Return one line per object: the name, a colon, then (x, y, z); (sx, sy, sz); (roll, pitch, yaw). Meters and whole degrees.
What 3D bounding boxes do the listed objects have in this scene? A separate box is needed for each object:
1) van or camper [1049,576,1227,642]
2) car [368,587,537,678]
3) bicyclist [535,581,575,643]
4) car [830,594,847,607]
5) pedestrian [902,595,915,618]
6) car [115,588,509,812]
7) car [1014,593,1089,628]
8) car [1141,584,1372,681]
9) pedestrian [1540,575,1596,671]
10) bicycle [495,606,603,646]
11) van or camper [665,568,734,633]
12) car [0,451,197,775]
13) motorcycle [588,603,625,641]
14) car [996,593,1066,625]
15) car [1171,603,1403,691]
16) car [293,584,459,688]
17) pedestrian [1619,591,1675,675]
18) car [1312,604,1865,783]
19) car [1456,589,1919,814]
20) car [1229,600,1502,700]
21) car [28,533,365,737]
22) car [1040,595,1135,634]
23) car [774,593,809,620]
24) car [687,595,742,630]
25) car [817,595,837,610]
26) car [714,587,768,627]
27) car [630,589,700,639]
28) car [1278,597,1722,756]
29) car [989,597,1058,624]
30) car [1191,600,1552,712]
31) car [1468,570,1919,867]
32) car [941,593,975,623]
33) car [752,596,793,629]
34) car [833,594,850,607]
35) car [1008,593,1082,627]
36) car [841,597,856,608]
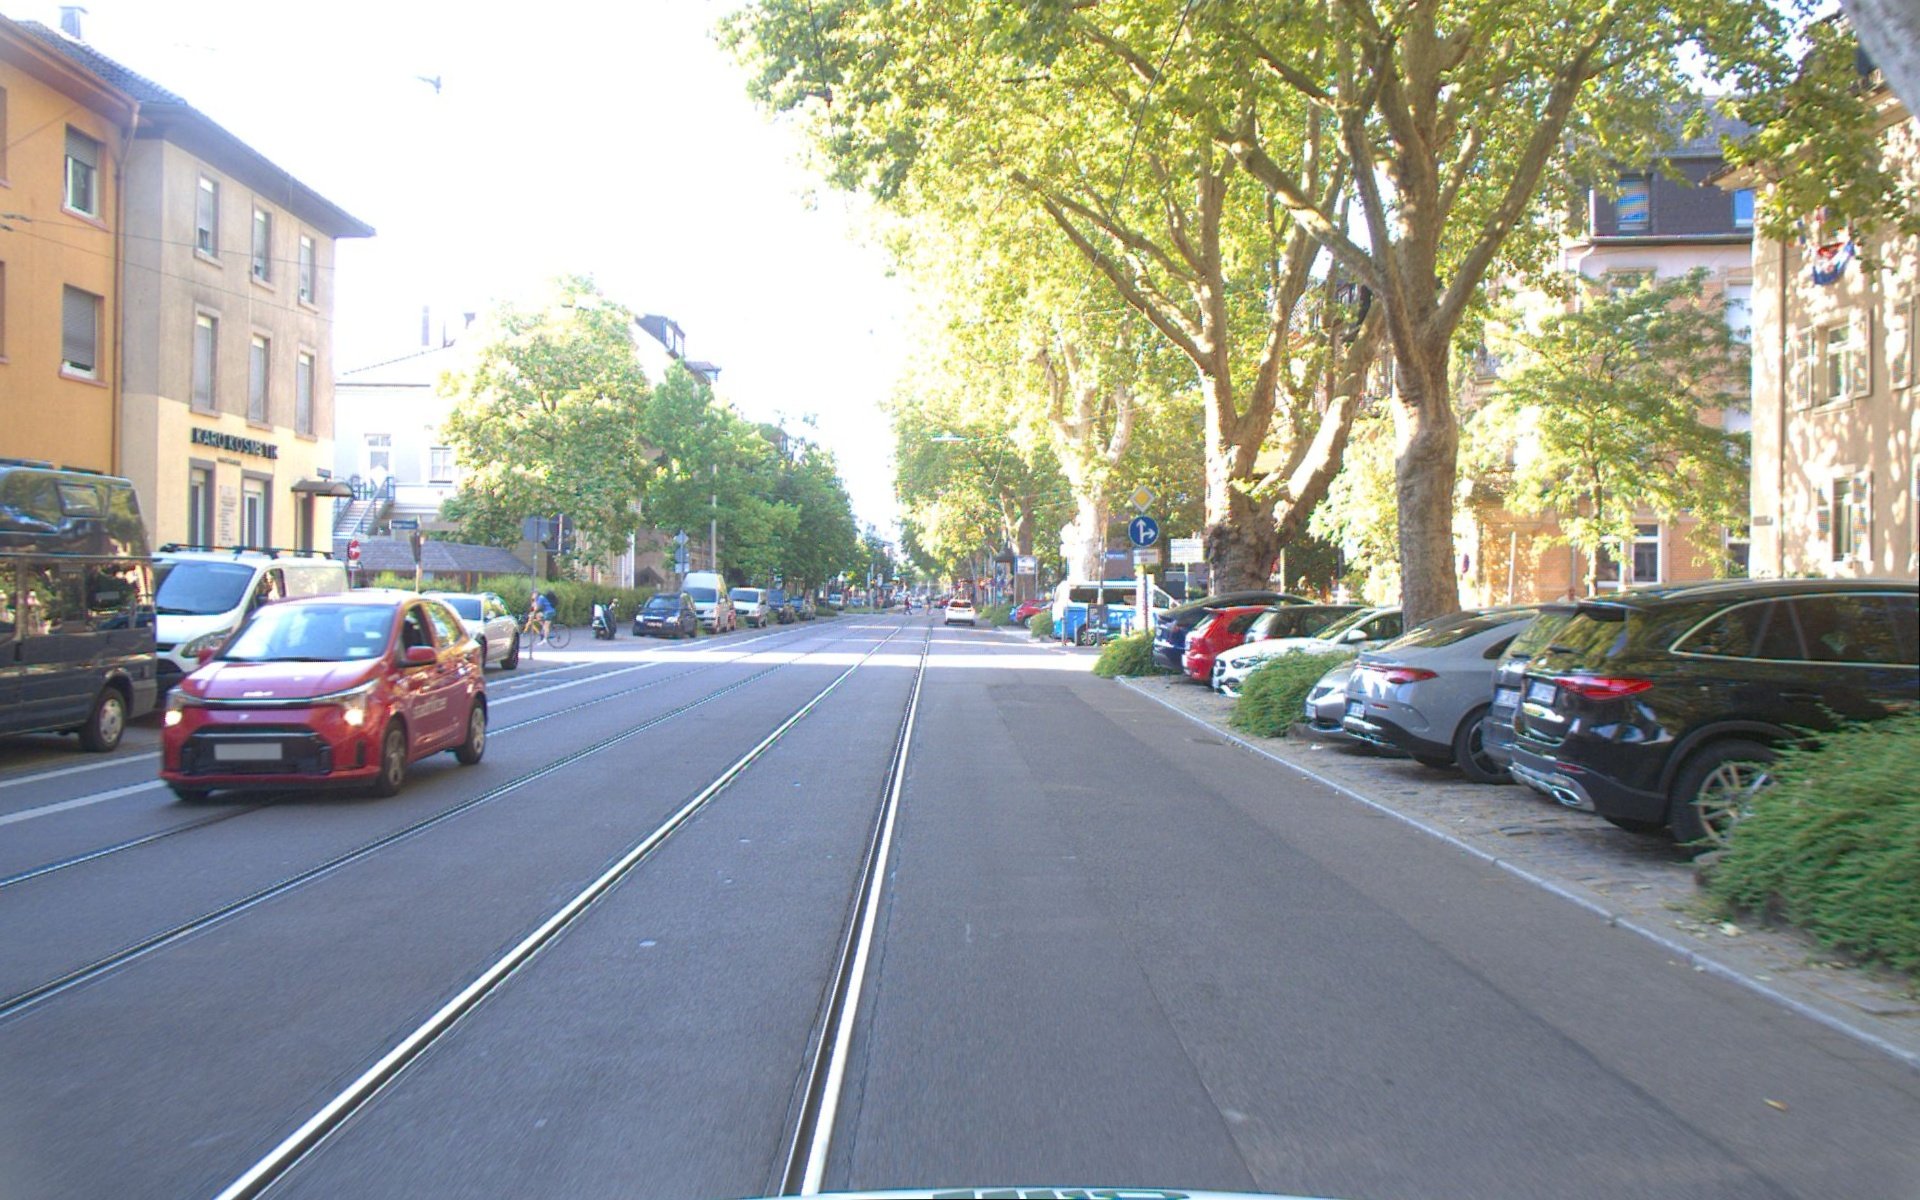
van or camper: (5.788, 0.277, 54.207); (5.447, 2.048, 2.242); (0, 3, -6)
car: (-9.580, 0.559, 31.638); (1.800, 1.494, 5.067); (3, 0, -3)
bicyclist: (-11.486, 0.328, 46.901); (1.027, 1.735, 1.055); (0, 0, -10)
car: (-14.205, 0.058, 193.579); (1.880, 1.443, 3.588); (0, 0, -3)
pedestrian: (-4.676, 0.559, 150.568); (1.026, 2.049, 1.082); (0, 0, 2)
car: (-4.900, 0.663, 13.123); (1.629, 1.505, 3.950); (0, 0, -1)
car: (4.912, 0.558, 88.854); (3.906, 1.816, 2.000); (0, 0, -1)
car: (5.371, 0.577, 30.309); (3.845, 1.699, 1.960); (1, 0, -3)
pedestrian: (11.419, 0.423, 31.094); (0.745, 1.769, 0.821); (0, 0, -1)
bicycle: (-11.619, 0.733, 46.894); (2.894, 1.124, 1.049); (0, 0, -11)
van or camper: (-10.665, 0.013, 68.014); (2.037, 2.577, 5.316); (0, 0, -1)
car: (-9.245, 0.055, 15.045); (2.044, 2.779, 5.308); (3, 0, -1)
motorcycle: (-11.678, 0.728, 54.648); (0.748, 1.126, 2.329); (1, 2, -1)
car: (4.032, 0.508, 94.385); (3.906, 1.816, 2.000); (0, 0, -1)
car: (5.487, 0.775, 28.087); (3.575, 1.402, 1.889); (1, 0, 0)
car: (-9.514, 0.556, 27.163); (1.539, 1.553, 3.040); (2, 0, 1)
pedestrian: (12.348, 0.591, 29.749); (0.648, 1.480, 0.821); (0, 0, -1)
car: (5.481, 0.788, 14.813); (4.209, 1.464, 1.947); (1, 0, -2)
car: (5.836, 0.720, 12.599); (3.602, 1.574, 1.777); (0, 0, 1)
car: (6.233, 0.747, 25.686); (3.803, 1.460, 1.753); (1, 0, -1)
car: (-9.344, 0.347, 20.831); (1.914, 2.127, 5.246); (4, 1, -3)
car: (5.424, 0.607, 70.785); (3.906, 1.637, 2.000); (0, 0, -1)
car: (-11.489, 0.453, 113.014); (1.953, 1.775, 4.658); (0, 0, -1)
car: (-10.852, 0.547, 73.374); (1.838, 1.486, 4.206); (0, 0, -1)
car: (-12.937, 0.242, 161.299); (1.880, 1.443, 3.718); (0, 0, -3)
car: (-10.921, 0.330, 82.685); (2.129, 1.893, 4.658); (0, 0, -1)
car: (-10.431, 0.465, 58.783); (1.751, 1.614, 4.342); (3, 0, -2)
car: (5.533, 0.756, 17.292); (4.057, 1.535, 1.796); (1, 0, -1)
car: (3.691, 0.624, 96.686); (3.906, 1.547, 2.000); (0, 0, -1)
car: (5.684, 0.756, 23.222); (4.591, 1.472, 1.892); (1, 0, -1)
car: (5.663, 0.642, 10.291); (4.402, 1.630, 2.028); (-1, 0, 3)
car: (-0.119, 0.438, 94.131); (1.879, 1.612, 3.790); (-1, 0, -1)
car: (-10.991, 0.727, 97.097); (1.953, 1.893, 4.178); (0, 0, -1)
car: (-14.211, 0.066, 197.825); (1.881, 1.443, 3.586); (-2, -1, -6)
car: (4.663, 0.556, 91.133); (3.906, 1.816, 2.000); (0, 0, -1)
car: (-14.588, 0.352, 215.666); (1.880, 1.443, 3.588); (0, 0, -3)
